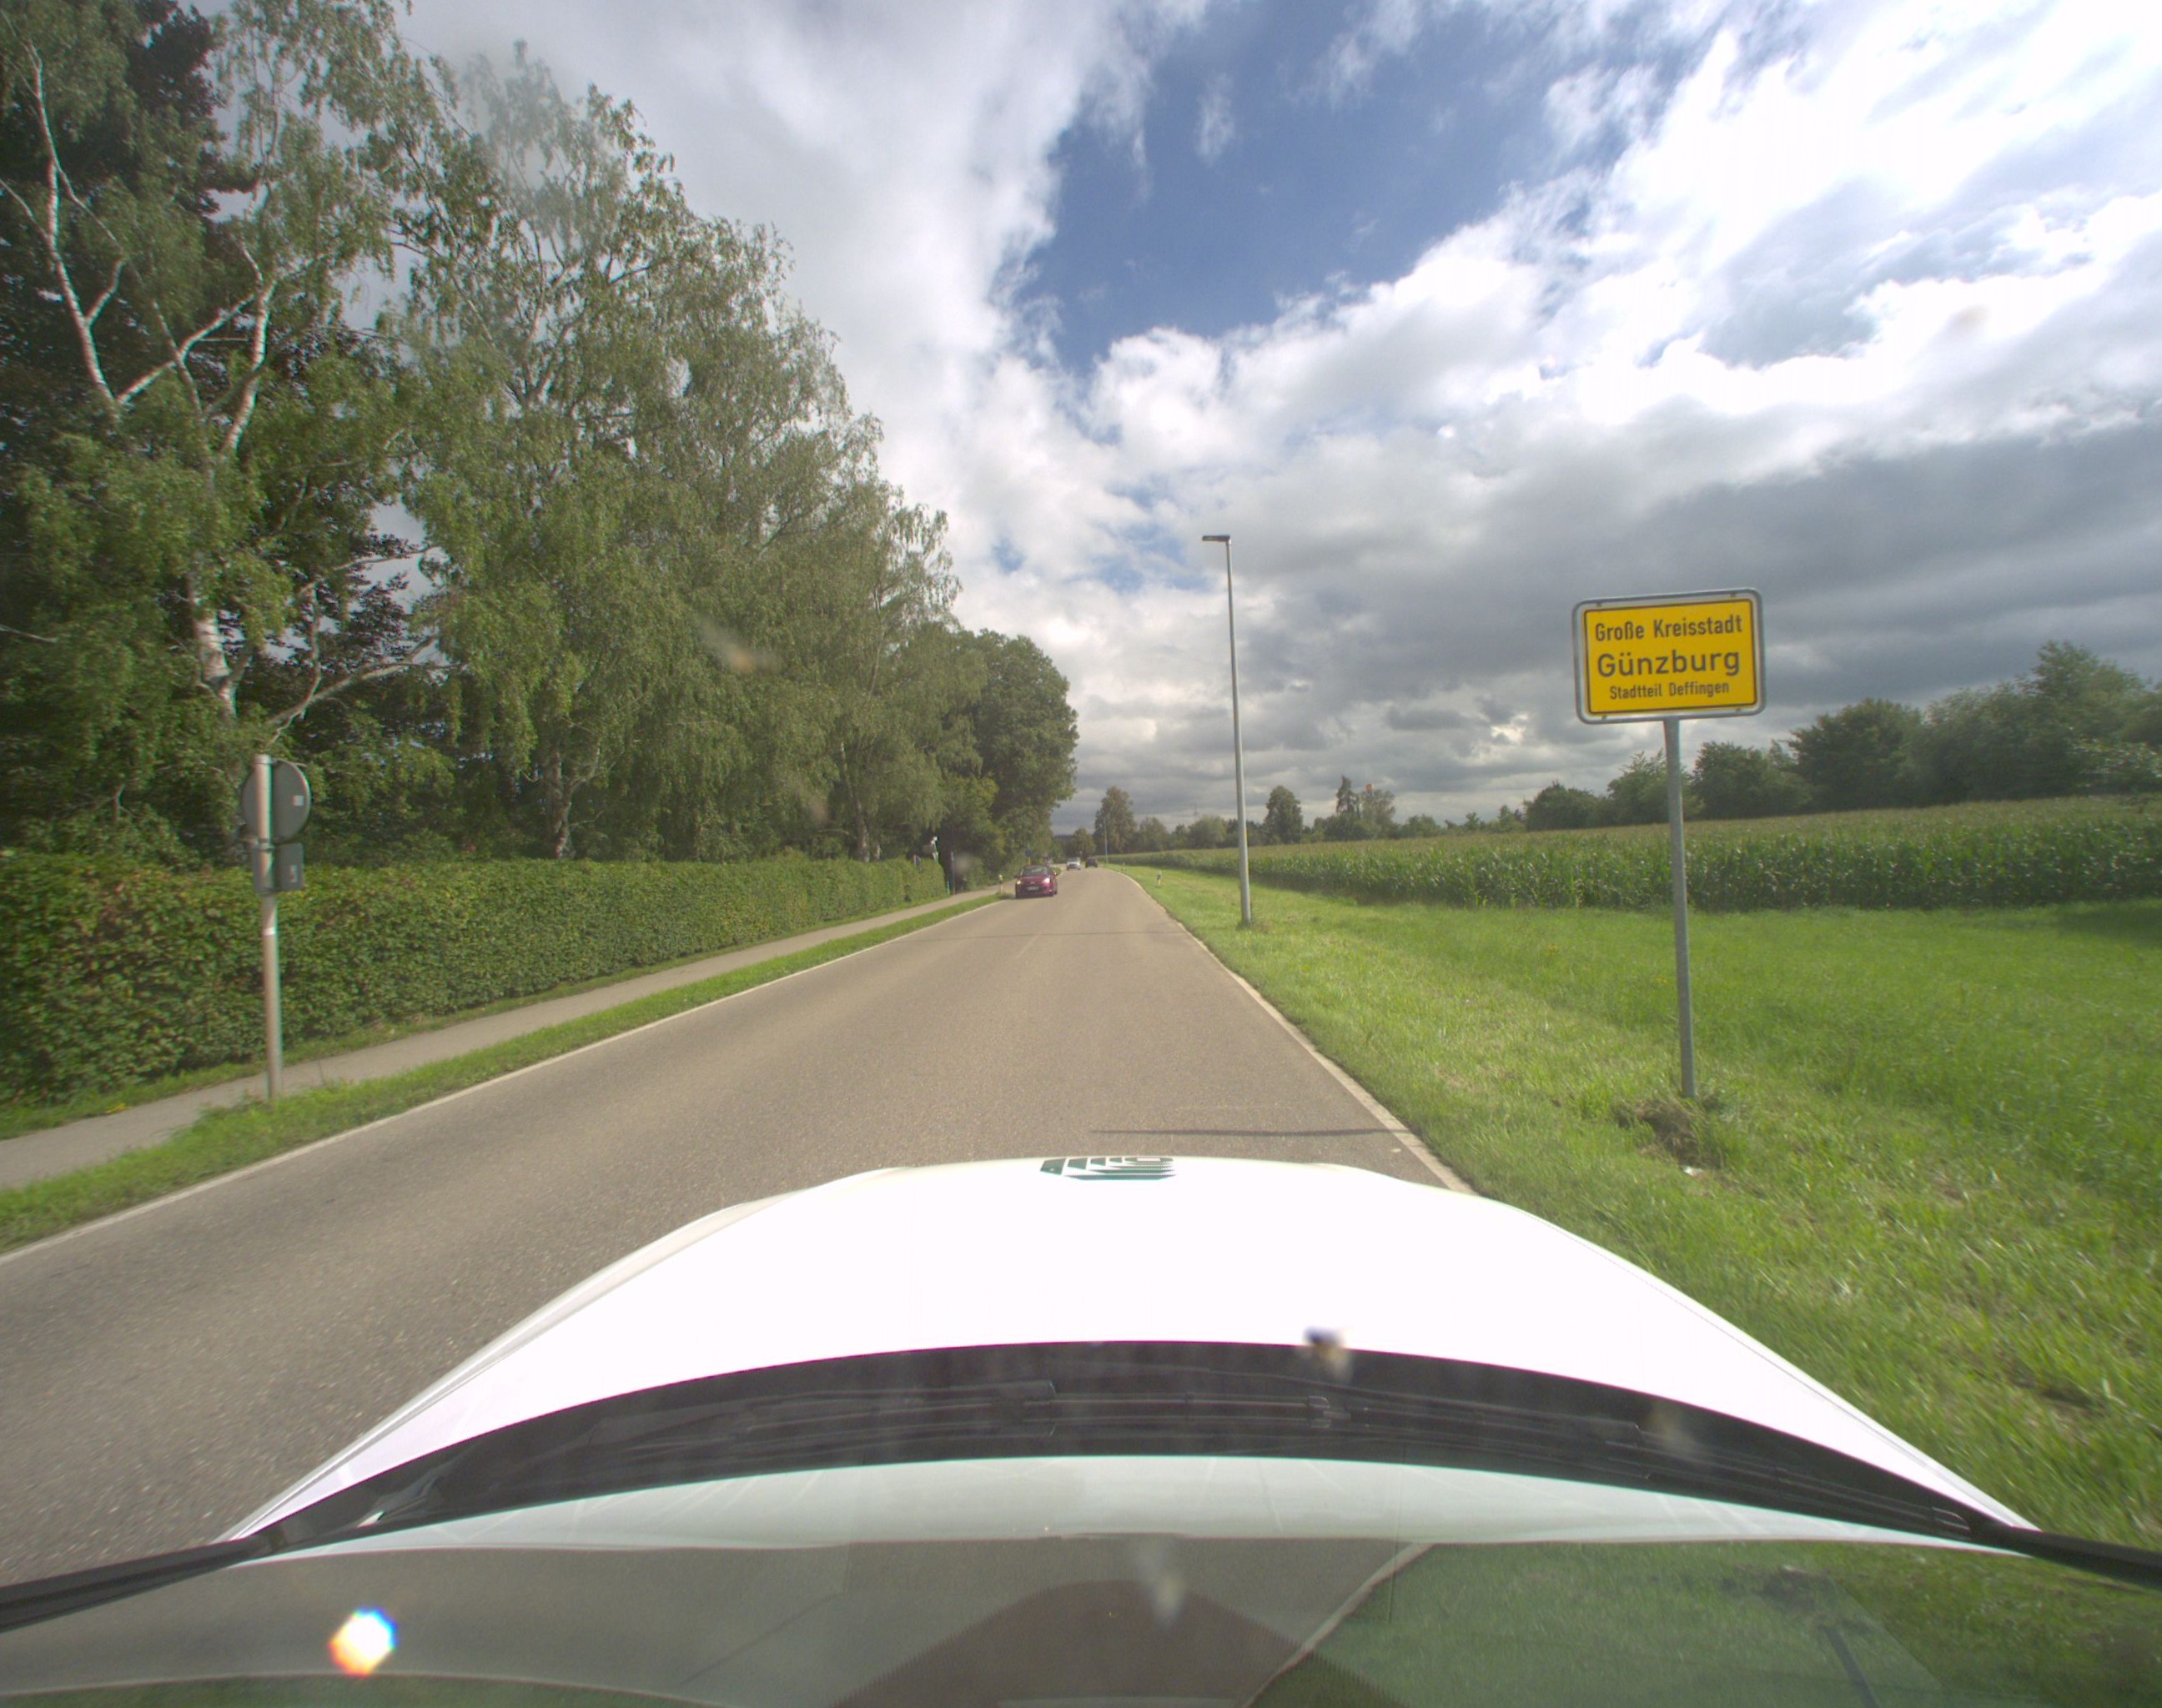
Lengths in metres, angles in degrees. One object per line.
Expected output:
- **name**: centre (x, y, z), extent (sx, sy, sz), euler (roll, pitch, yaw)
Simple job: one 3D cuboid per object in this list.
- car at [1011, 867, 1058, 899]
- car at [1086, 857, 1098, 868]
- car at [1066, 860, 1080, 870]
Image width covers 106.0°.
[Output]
- **car**: centre (-2.042, 1.267, 36.728), extent (1.739, 1.222, 3.545), euler (-4, 0, 2)
- **car**: centre (1.830, 1.411, 131.867), extent (1.900, 1.666, 4.001), euler (-4, 0, 1)
- **car**: centre (-1.095, 1.523, 113.795), extent (1.739, 1.222, 3.545), euler (-4, 0, 2)
